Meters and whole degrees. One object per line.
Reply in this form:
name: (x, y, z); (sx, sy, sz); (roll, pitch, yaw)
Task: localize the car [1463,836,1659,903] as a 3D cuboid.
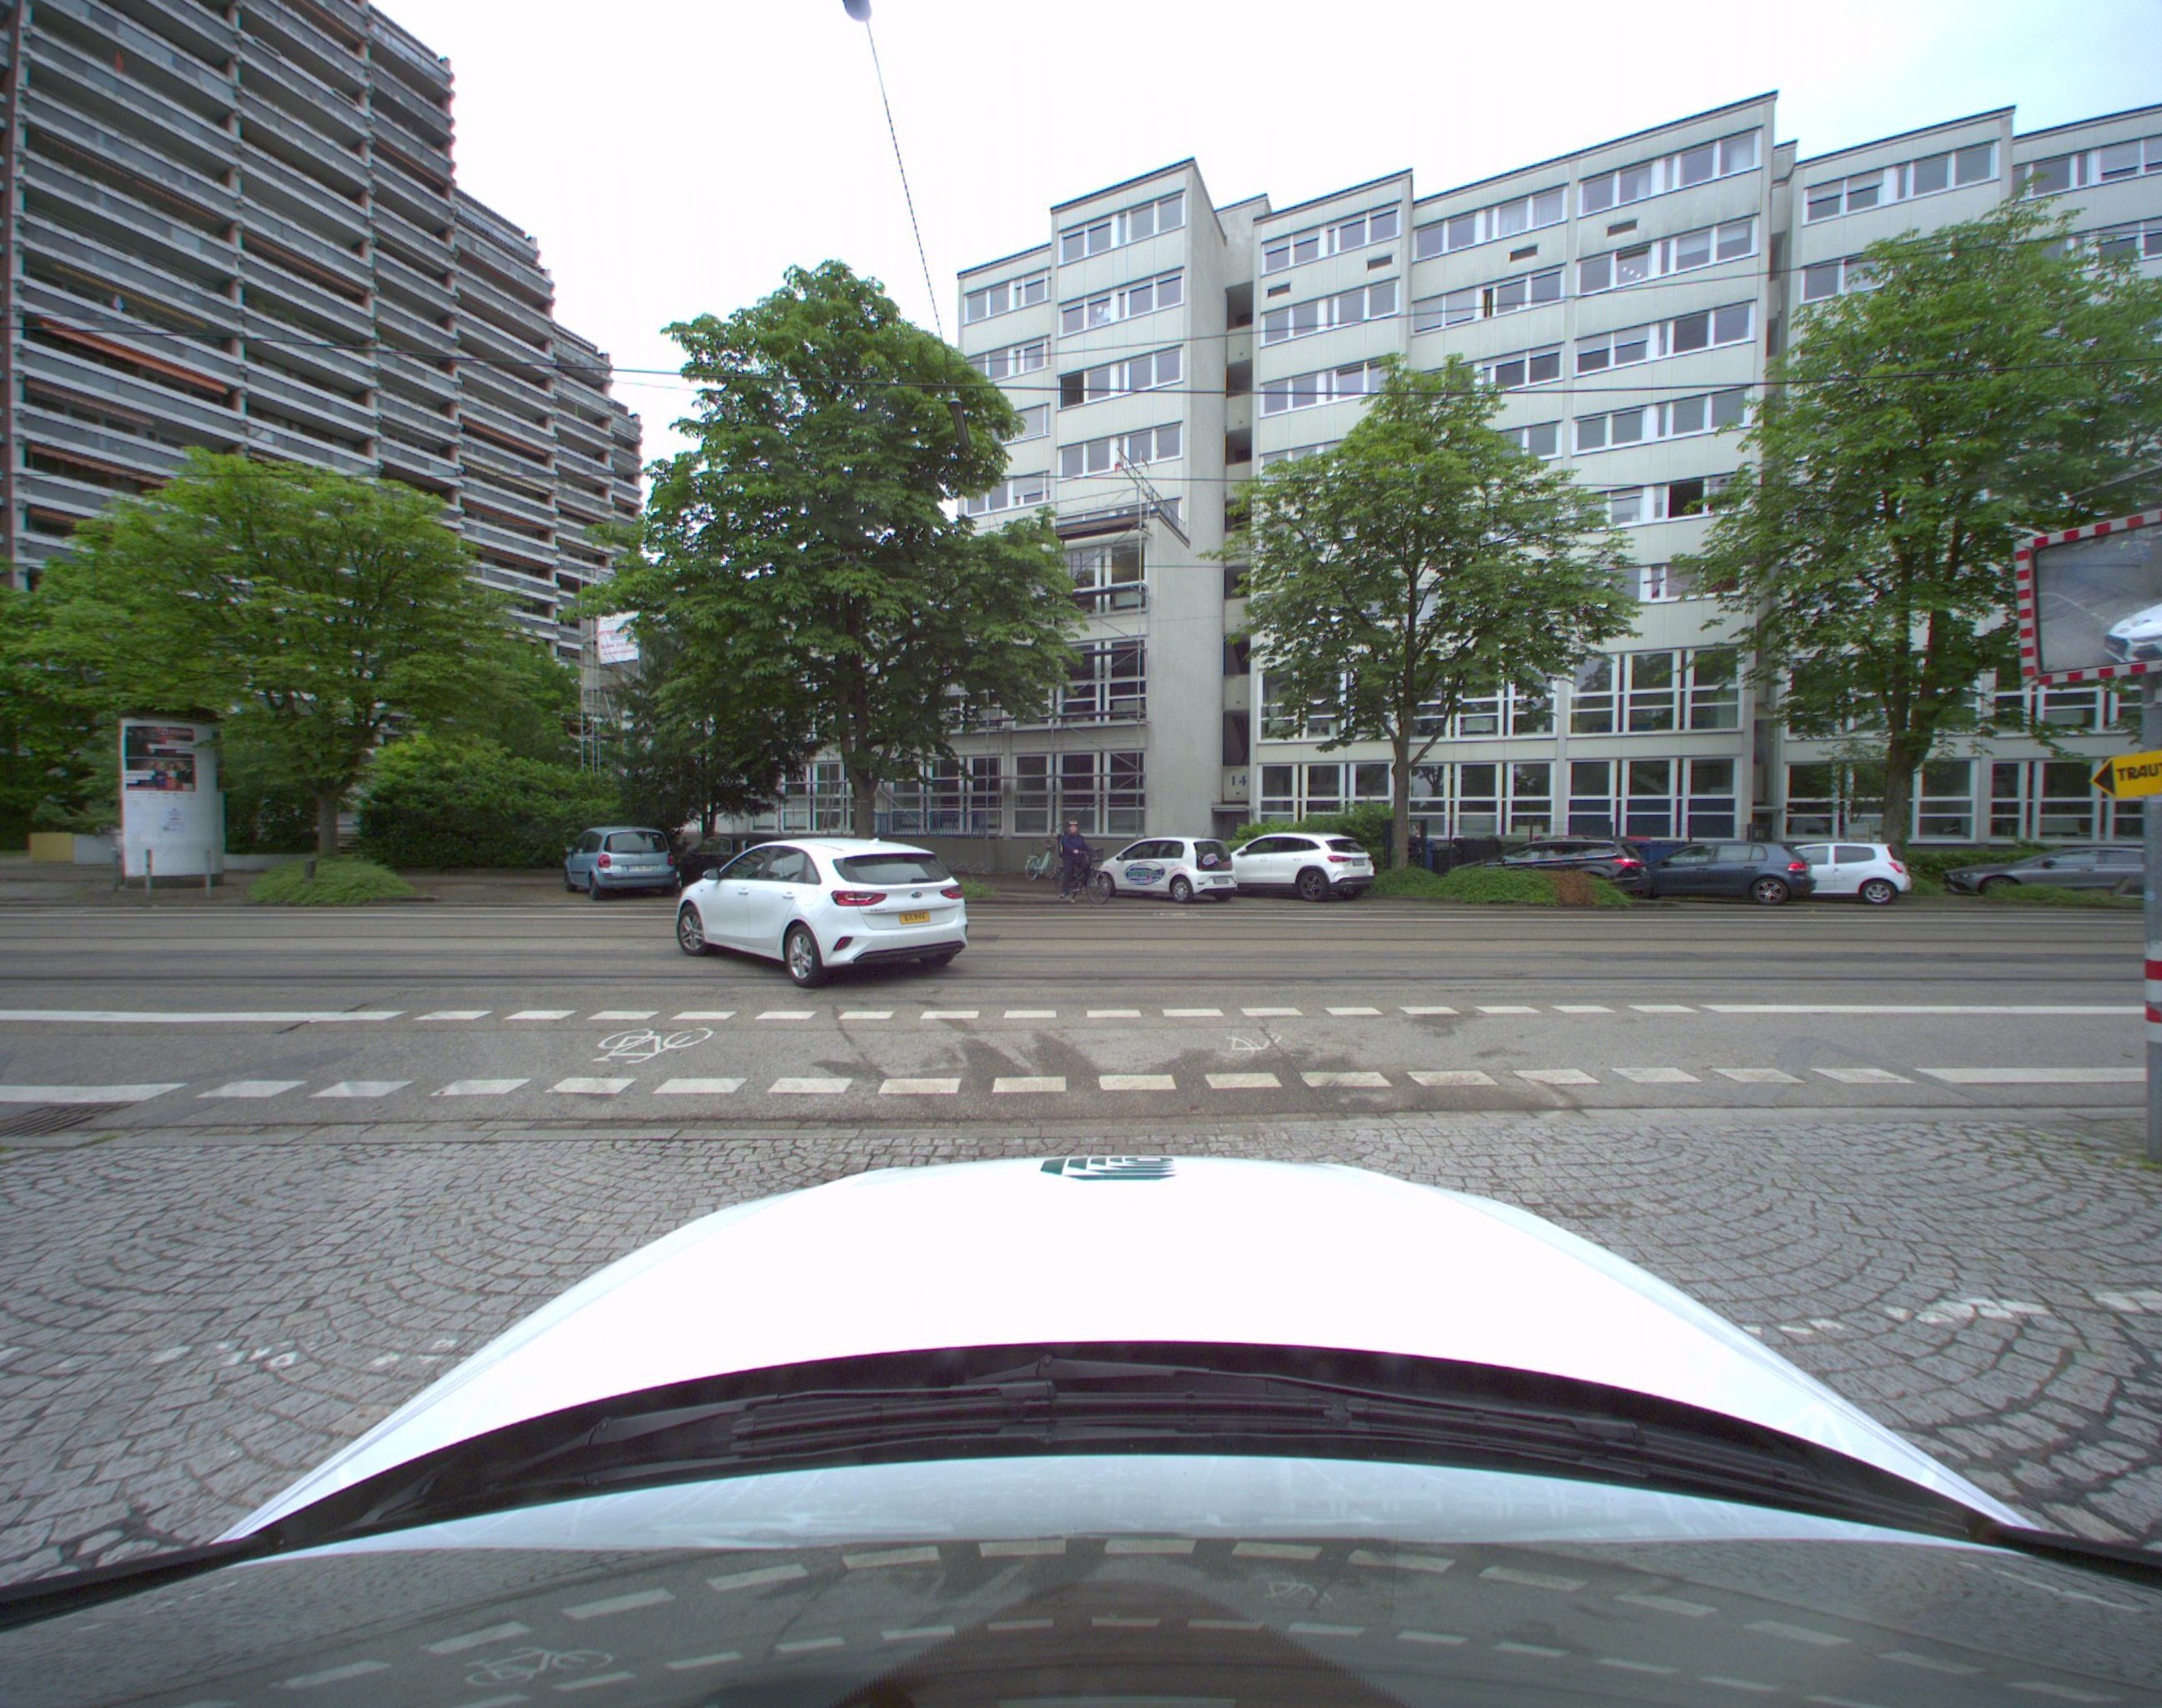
car: (11.740, 0.321, 20.060); (3.904, 1.473, 1.684); (1, 2, 42)

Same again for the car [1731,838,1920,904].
car: (18.302, 0.355, 20.128); (1.425, 1.473, 3.348); (-2, 2, -45)

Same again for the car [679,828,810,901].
car: (-7.813, 0.186, 18.807); (3.296, 1.511, 1.628); (1, 2, 45)

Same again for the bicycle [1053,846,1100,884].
bicycle: (-0.114, 0.311, 25.348); (0.638, 1.074, 2.324); (1, 2, 22)

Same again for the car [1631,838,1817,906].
car: (15.303, 0.365, 19.496); (1.425, 1.473, 3.348); (-2, 2, -45)

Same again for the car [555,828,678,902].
car: (-10.752, 0.183, 18.781); (3.296, 1.537, 1.628); (2, 2, 45)

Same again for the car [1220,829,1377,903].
car: (5.202, 0.233, 19.698); (1.565, 1.618, 3.367); (-2, 2, -42)

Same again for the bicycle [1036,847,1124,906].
bicycle: (-0.044, 0.462, 17.730); (0.826, 1.174, 1.892); (-1, 2, -44)

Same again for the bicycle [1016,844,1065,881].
bicycle: (-1.255, 0.246, 25.807); (0.638, 1.074, 2.324); (1, 2, 22)

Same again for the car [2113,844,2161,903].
car: (28.375, 0.508, 20.153); (1.425, 1.473, 3.348); (-1, 2, -45)

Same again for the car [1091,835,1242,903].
car: (1.968, 0.292, 19.325); (1.565, 1.473, 3.367); (-2, 2, -42)

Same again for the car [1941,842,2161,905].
car: (24.932, 0.460, 20.469); (4.441, 1.474, 1.425); (1, -1, 41)

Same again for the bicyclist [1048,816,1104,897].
bicyclist: (-0.109, 0.034, 17.788); (0.839, 1.697, 0.886); (-1, 2, -43)

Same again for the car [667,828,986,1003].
car: (-3.066, 0.500, 9.407); (3.930, 1.432, 1.792); (4, 6, 43)
